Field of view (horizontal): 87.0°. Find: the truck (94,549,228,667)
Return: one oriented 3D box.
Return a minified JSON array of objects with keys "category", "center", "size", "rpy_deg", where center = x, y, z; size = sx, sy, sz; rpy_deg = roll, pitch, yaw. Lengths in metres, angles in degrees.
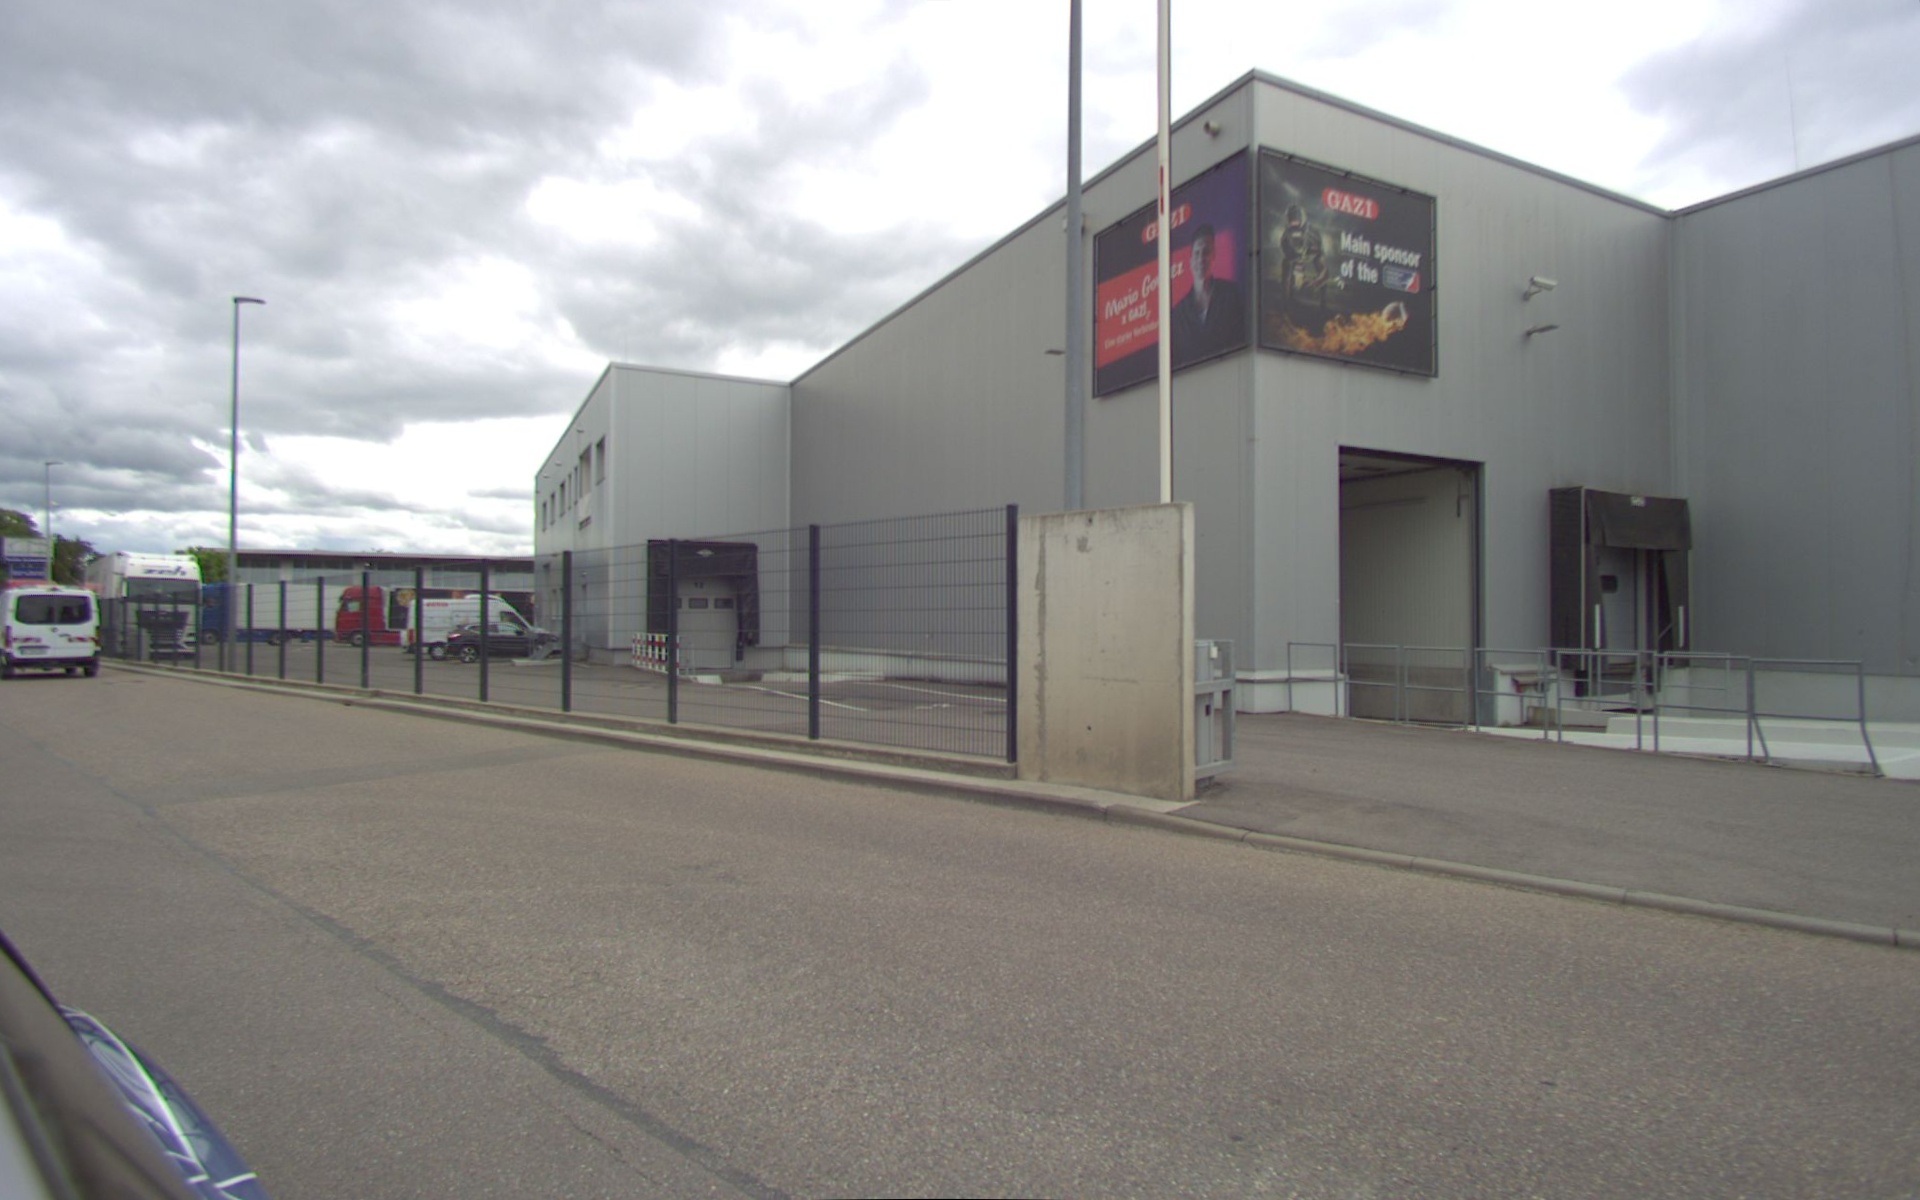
[{"category":"truck","center":[-31.046,0.419,39.247],"size":[3.320,4.192,5.630],"rpy_deg":[4,-4,-44]}]

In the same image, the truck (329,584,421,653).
[{"category":"truck","center":[-38.039,1.248,65.986],"size":[4.797,4.237,3.058],"rpy_deg":[2,-3,-26]}]

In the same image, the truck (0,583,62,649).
[{"category":"truck","center":[-58.236,1.043,62.796],"size":[5.669,3.879,2.981],"rpy_deg":[-1,-4,42]}]

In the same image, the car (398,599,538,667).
[{"category":"car","center":[-21.530,1.394,44.318],"size":[5.341,2.751,2.248],"rpy_deg":[-1,-1,-29]}]

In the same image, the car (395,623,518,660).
[{"category":"car","center":[-26.194,2.193,52.750],"size":[5.595,1.823,1.950],"rpy_deg":[2,-2,-27]}]

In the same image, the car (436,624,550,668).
[{"category":"car","center":[-18.612,1.801,40.364],"size":[4.010,1.589,1.950],"rpy_deg":[-1,-1,-27]}]

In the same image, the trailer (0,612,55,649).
[{"category":"trailer","center":[-62.402,1.996,66.560],"size":[12.045,2.209,3.005],"rpy_deg":[-1,-4,42]}]

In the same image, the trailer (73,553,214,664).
[{"category":"trailer","center":[-35.946,0.540,44.248],"size":[3.320,4.192,13.857],"rpy_deg":[4,-4,-44]}]

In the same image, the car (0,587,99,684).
[{"category":"car","center":[-25.462,0.944,27.857],"size":[5.254,2.434,1.972],"rpy_deg":[-2,-1,42]}]

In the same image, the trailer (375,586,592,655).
[{"category":"trailer","center":[-32.121,1.490,68.878],"size":[12.962,4.245,3.058],"rpy_deg":[2,-3,-26]}]

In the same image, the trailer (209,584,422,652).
[{"category":"trailer","center":[-43.389,1.345,68.812],"size":[11.841,4.164,3.057],"rpy_deg":[3,-3,-30]}]

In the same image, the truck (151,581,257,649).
[{"category":"truck","center":[-48.541,1.045,65.025],"size":[3.048,4.164,4.813],"rpy_deg":[-1,-4,42]}]
